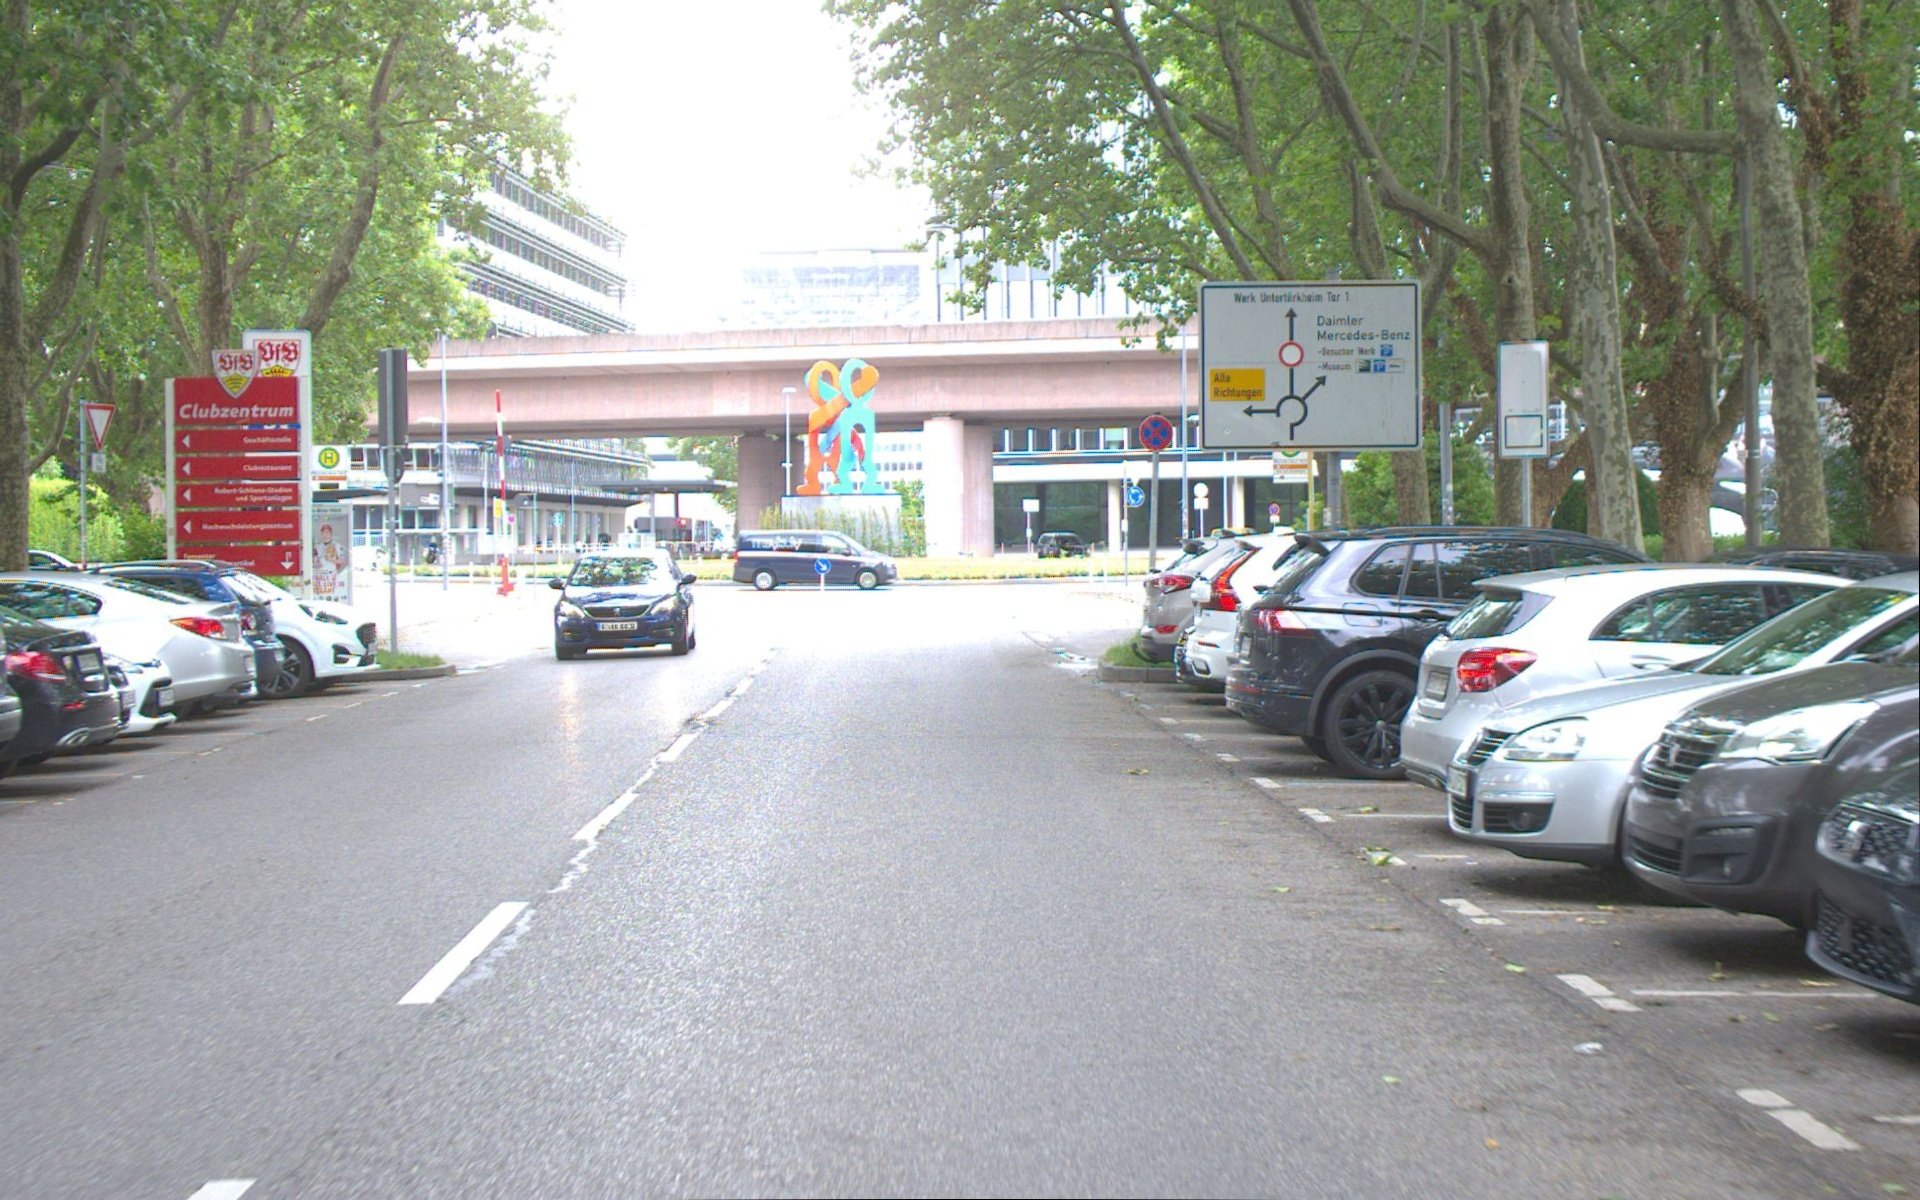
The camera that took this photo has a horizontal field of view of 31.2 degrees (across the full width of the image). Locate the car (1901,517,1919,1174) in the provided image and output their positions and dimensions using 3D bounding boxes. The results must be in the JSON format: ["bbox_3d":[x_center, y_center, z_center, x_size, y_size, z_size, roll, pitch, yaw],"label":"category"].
[{"bbox_3d":[4.680,0.672,7.728,4.591,1.633,1.872,1,2,1],"label":"car"}]

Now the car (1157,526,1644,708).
[{"bbox_3d":[4.117,0.135,32.690,4.346,1.599,1.926,1,2,0],"label":"car"}]

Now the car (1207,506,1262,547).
[{"bbox_3d":[13.877,-3.709,173.812,1.995,2.007,3.997,0,1,17],"label":"car"}]

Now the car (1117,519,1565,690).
[{"bbox_3d":[3.848,0.026,35.306,4.346,1.628,1.926,1,2,0],"label":"car"}]

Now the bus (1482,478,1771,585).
[{"bbox_3d":[25.225,-2.546,129.964,11.045,3.921,2.759,0,1,-23],"label":"bus"}]

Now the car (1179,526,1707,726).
[{"bbox_3d":[4.184,0.200,30.325,4.346,1.628,1.926,1,2,0],"label":"car"}]

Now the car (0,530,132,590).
[{"bbox_3d":[-25.040,-1.100,95.097,3.986,1.600,2.233,-1,1,-9],"label":"car"}]

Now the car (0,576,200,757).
[{"bbox_3d":[-8.310,0.507,27.710,3.986,1.399,1.886,0,1,-2],"label":"car"}]

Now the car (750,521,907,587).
[{"bbox_3d":[-4.078,-1.439,107.543,4.768,2.007,2.283,0,1,2],"label":"car"}]

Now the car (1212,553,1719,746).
[{"bbox_3d":[3.997,0.372,27.609,3.730,1.398,1.776,2,1,-2],"label":"car"}]

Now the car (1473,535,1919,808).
[{"bbox_3d":[4.937,0.383,20.513,3.434,1.487,1.680,-2,1,-2],"label":"car"}]

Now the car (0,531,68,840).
[{"bbox_3d":[-7.705,0.478,20.370,4.317,1.789,2.037,0,1,-1],"label":"car"}]

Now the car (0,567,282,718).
[{"bbox_3d":[-8.687,0.390,33.070,3.987,1.400,1.862,0,1,-1],"label":"car"}]

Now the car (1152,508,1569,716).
[{"bbox_3d":[4.044,0.092,35.222,3.987,2.007,2.000,1,2,0],"label":"car"}]

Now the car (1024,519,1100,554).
[{"bbox_3d":[5.380,-3.344,181.481,1.998,1.766,3.991,1,1,39],"label":"car"}]

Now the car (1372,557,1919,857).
[{"bbox_3d":[4.104,0.532,17.806,3.639,1.422,1.666,1,2,-4],"label":"car"}]

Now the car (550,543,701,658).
[{"bbox_3d":[-4.558,-0.015,47.262,1.842,1.504,4.015,0,1,-2],"label":"car"}]

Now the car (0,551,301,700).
[{"bbox_3d":[-8.966,0.244,35.463,3.993,1.488,1.832,0,1,-1],"label":"car"}]

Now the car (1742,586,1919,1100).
[{"bbox_3d":[4.592,0.699,10.346,4.040,1.375,1.744,1,2,0],"label":"car"}]

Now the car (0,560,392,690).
[{"bbox_3d":[-8.460,0.253,38.002,3.994,1.380,1.911,0,1,3],"label":"car"}]

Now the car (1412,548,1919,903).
[{"bbox_3d":[4.211,0.530,15.266,4.148,1.453,1.727,1,1,0],"label":"car"}]

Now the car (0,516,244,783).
[{"bbox_3d":[-7.549,0.380,24.828,4.317,1.804,1.868,-2,1,-1],"label":"car"}]

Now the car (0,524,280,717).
[{"bbox_3d":[-8.325,0.218,30.330,4.263,1.543,1.908,-3,1,-3],"label":"car"}]

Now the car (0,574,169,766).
[{"bbox_3d":[-8.099,0.484,25.233,4.188,1.349,1.967,0,1,-3],"label":"car"}]

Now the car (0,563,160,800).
[{"bbox_3d":[-7.656,0.601,22.815,4.129,1.447,2.013,-3,1,1],"label":"car"}]

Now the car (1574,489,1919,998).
[{"bbox_3d":[4.658,0.495,12.777,4.346,1.739,1.837,1,2,-3],"label":"car"}]

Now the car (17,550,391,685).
[{"bbox_3d":[-8.837,0.194,40.409,3.994,1.535,1.805,0,1,1],"label":"car"}]

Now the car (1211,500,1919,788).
[{"bbox_3d":[3.965,0.265,22.925,4.346,1.755,1.926,1,1,-2],"label":"car"}]
